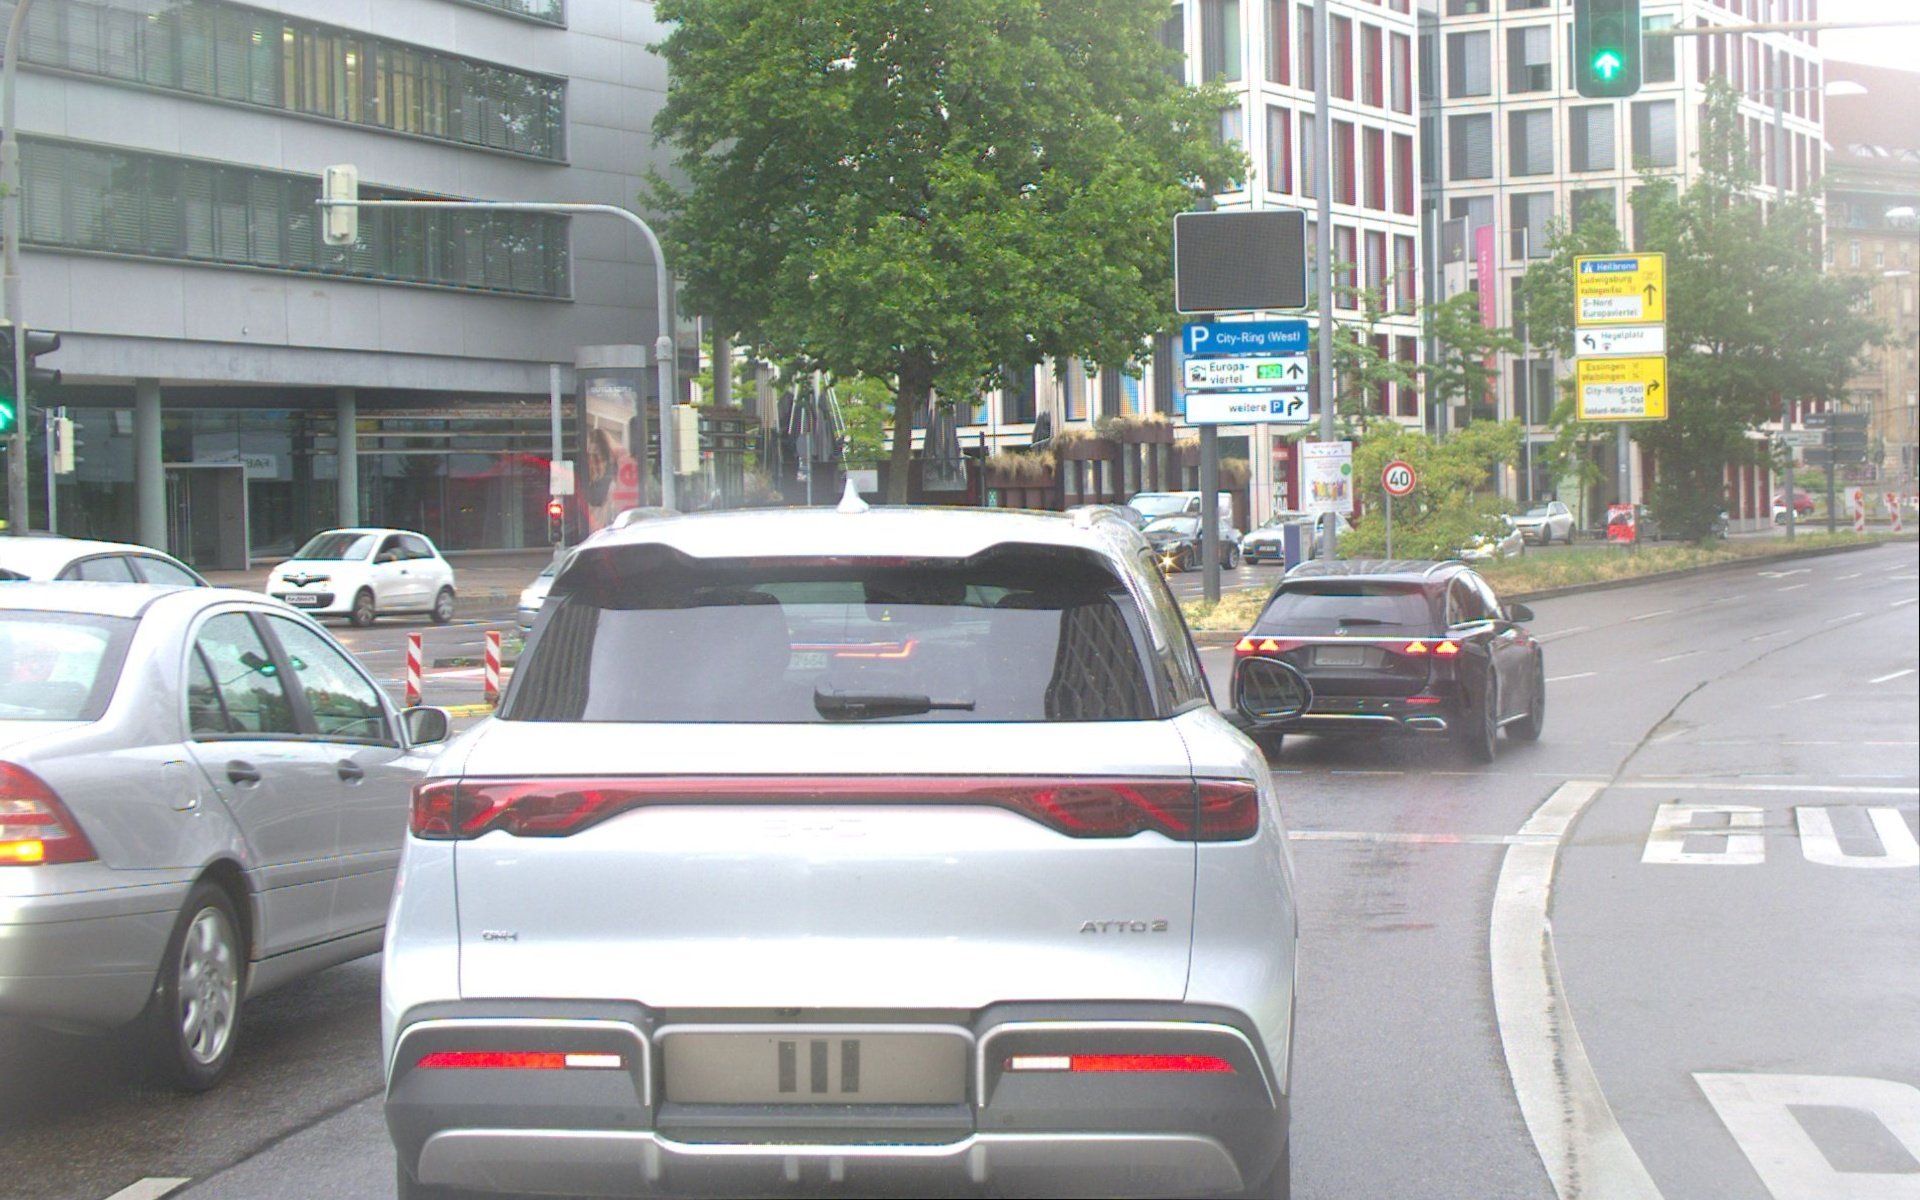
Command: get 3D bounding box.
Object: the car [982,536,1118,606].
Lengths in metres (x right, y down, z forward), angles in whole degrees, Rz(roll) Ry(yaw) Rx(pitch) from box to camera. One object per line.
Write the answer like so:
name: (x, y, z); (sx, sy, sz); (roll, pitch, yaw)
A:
car: (2.148, -0.701, 80.751); (1.633, 1.553, 4.588); (0, 2, 23)

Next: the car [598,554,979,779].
car: (-1.147, 0.437, 24.912); (1.572, 1.481, 3.997); (1, 0, 15)

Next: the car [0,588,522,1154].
car: (-2.706, 0.671, 10.748); (1.571, 1.402, 4.108); (1, 0, 9)

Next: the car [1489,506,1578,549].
car: (20.393, -2.591, 122.173); (1.996, 1.483, 3.994); (0, 2, 27)

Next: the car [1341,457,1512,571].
car: (8.775, -1.579, 64.303); (1.996, 2.007, 4.843); (1, 0, 22)

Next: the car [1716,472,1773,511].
car: (37.188, -5.139, 162.862); (1.609, 1.735, 3.439); (1, 0, 31)

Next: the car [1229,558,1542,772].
car: (3.311, 0.451, 26.119); (1.695, 1.481, 3.997); (1, 0, 17)

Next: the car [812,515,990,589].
car: (-1.209, -1.056, 74.038); (1.816, 1.505, 5.190); (0, 2, 24)

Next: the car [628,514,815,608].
car: (-4.077, -0.685, 59.424); (1.645, 1.575, 4.081); (1, 1, 21)

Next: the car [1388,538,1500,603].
car: (11.327, -0.698, 80.313); (1.633, 1.432, 3.903); (0, 2, 23)

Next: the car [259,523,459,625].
car: (-9.640, -0.407, 55.394); (1.639, 1.565, 3.715); (1, 0, 18)

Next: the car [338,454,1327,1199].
car: (-0.106, 0.574, 8.182); (1.776, 1.673, 3.999); (1, 0, 4)

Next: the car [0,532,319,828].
car: (-5.103, 0.391, 19.329); (1.707, 1.481, 3.998); (1, 0, 9)

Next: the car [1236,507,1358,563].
car: (9.251, -1.798, 94.028); (1.996, 1.483, 3.994); (0, 2, 27)

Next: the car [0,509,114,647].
car: (-11.346, -0.251, 38.627); (1.645, 1.530, 4.149); (1, 1, 18)

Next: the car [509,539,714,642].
car: (-4.894, -0.133, 48.718); (1.691, 1.380, 3.866); (1, 0, 14)
